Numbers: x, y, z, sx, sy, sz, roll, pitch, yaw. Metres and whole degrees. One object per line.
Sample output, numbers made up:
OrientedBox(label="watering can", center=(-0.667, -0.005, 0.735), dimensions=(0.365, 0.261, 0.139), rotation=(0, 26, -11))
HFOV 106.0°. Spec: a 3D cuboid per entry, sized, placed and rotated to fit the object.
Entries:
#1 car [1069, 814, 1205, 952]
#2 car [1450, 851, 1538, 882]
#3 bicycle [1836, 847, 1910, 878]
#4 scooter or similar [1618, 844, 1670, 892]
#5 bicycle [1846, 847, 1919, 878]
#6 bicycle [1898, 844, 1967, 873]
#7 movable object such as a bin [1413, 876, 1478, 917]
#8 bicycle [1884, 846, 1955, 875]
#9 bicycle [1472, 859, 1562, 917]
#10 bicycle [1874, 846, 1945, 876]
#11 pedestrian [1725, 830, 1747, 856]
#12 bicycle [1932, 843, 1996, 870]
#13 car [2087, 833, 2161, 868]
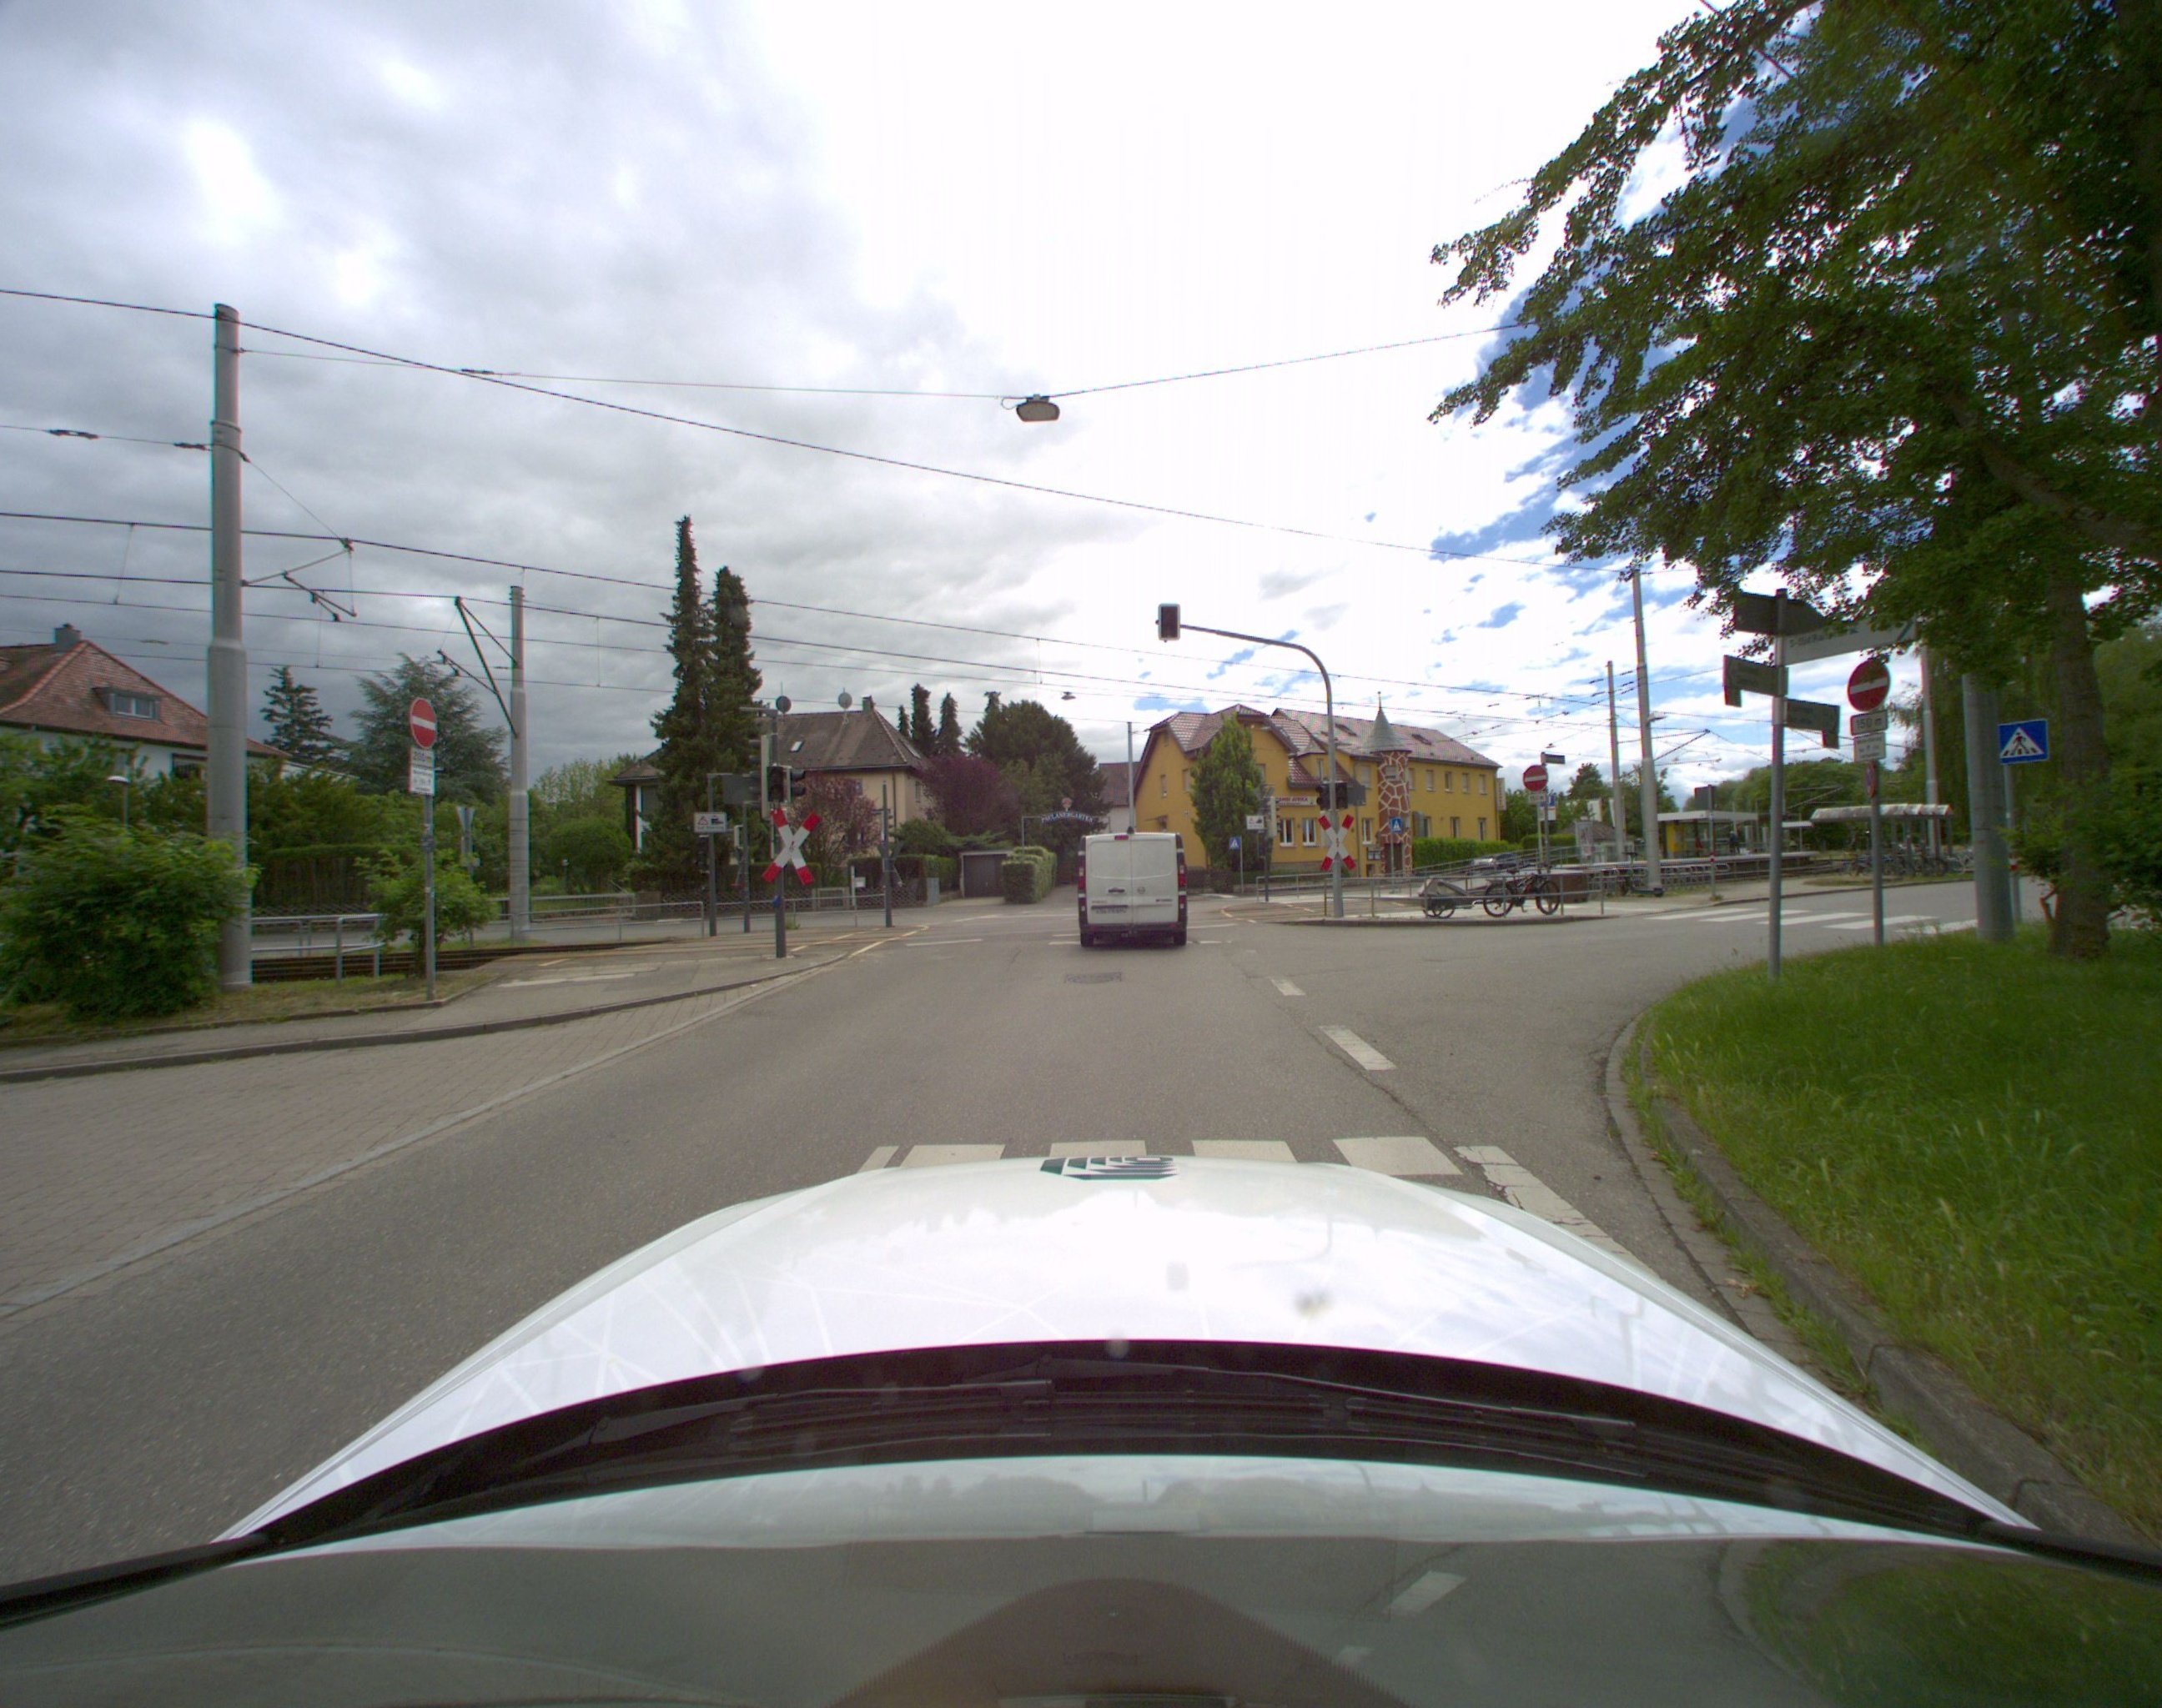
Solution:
OrientedBox(label="car", center=(0.872, 0.491, 15.632), dimensions=(2.110, 2.134, 5.439), rotation=(-1, -1, 0))
OrientedBox(label="car", center=(22.092, 0.639, 43.512), dimensions=(4.389, 1.564, 2.338), rotation=(0, -1, -34))
OrientedBox(label="bicycle", center=(27.970, 0.305, 28.797), dimensions=(0.558, 1.042, 1.754), rotation=(-1, -1, -28))
OrientedBox(label="scooter or similar", center=(16.020, 0.410, 23.183), dimensions=(0.491, 1.316, 1.041), rotation=(-3, -1, -28))
OrientedBox(label="bicycle", center=(28.760, 0.314, 29.240), dimensions=(0.558, 1.042, 1.754), rotation=(-1, -1, -28))
OrientedBox(label="bicycle", center=(32.953, 0.183, 31.545), dimensions=(0.558, 1.042, 1.754), rotation=(-1, -1, -28))
OrientedBox(label="movable object such as a bin", center=(7.716, 0.889, 17.253), dimensions=(1.089, 0.824, 0.579), rotation=(-2, -1, -4))
OrientedBox(label="bicycle", center=(31.599, 0.252, 30.711), dimensions=(0.558, 1.042, 1.754), rotation=(-1, -1, -28))
OrientedBox(label="bicycle", center=(9.244, 0.713, 17.273), dimensions=(1.685, 1.156, 0.465), rotation=(-2, -1, -7))
OrientedBox(label="bicycle", center=(30.795, 0.274, 30.301), dimensions=(0.558, 1.042, 1.754), rotation=(-1, -1, -28))
OrientedBox(label="pedestrian", center=(44.223, -0.734, 54.970), dimensions=(0.914, 1.671, 0.878), rotation=(-1, -2, -39))
OrientedBox(label="bicycle", center=(37.217, 0.112, 34.330), dimensions=(0.559, 1.042, 1.750), rotation=(-1, -2, -38))
OrientedBox(label="car", center=(52.305, -0.182, 40.824), dimensions=(4.278, 1.574, 2.047), rotation=(-1, -2, -35))
